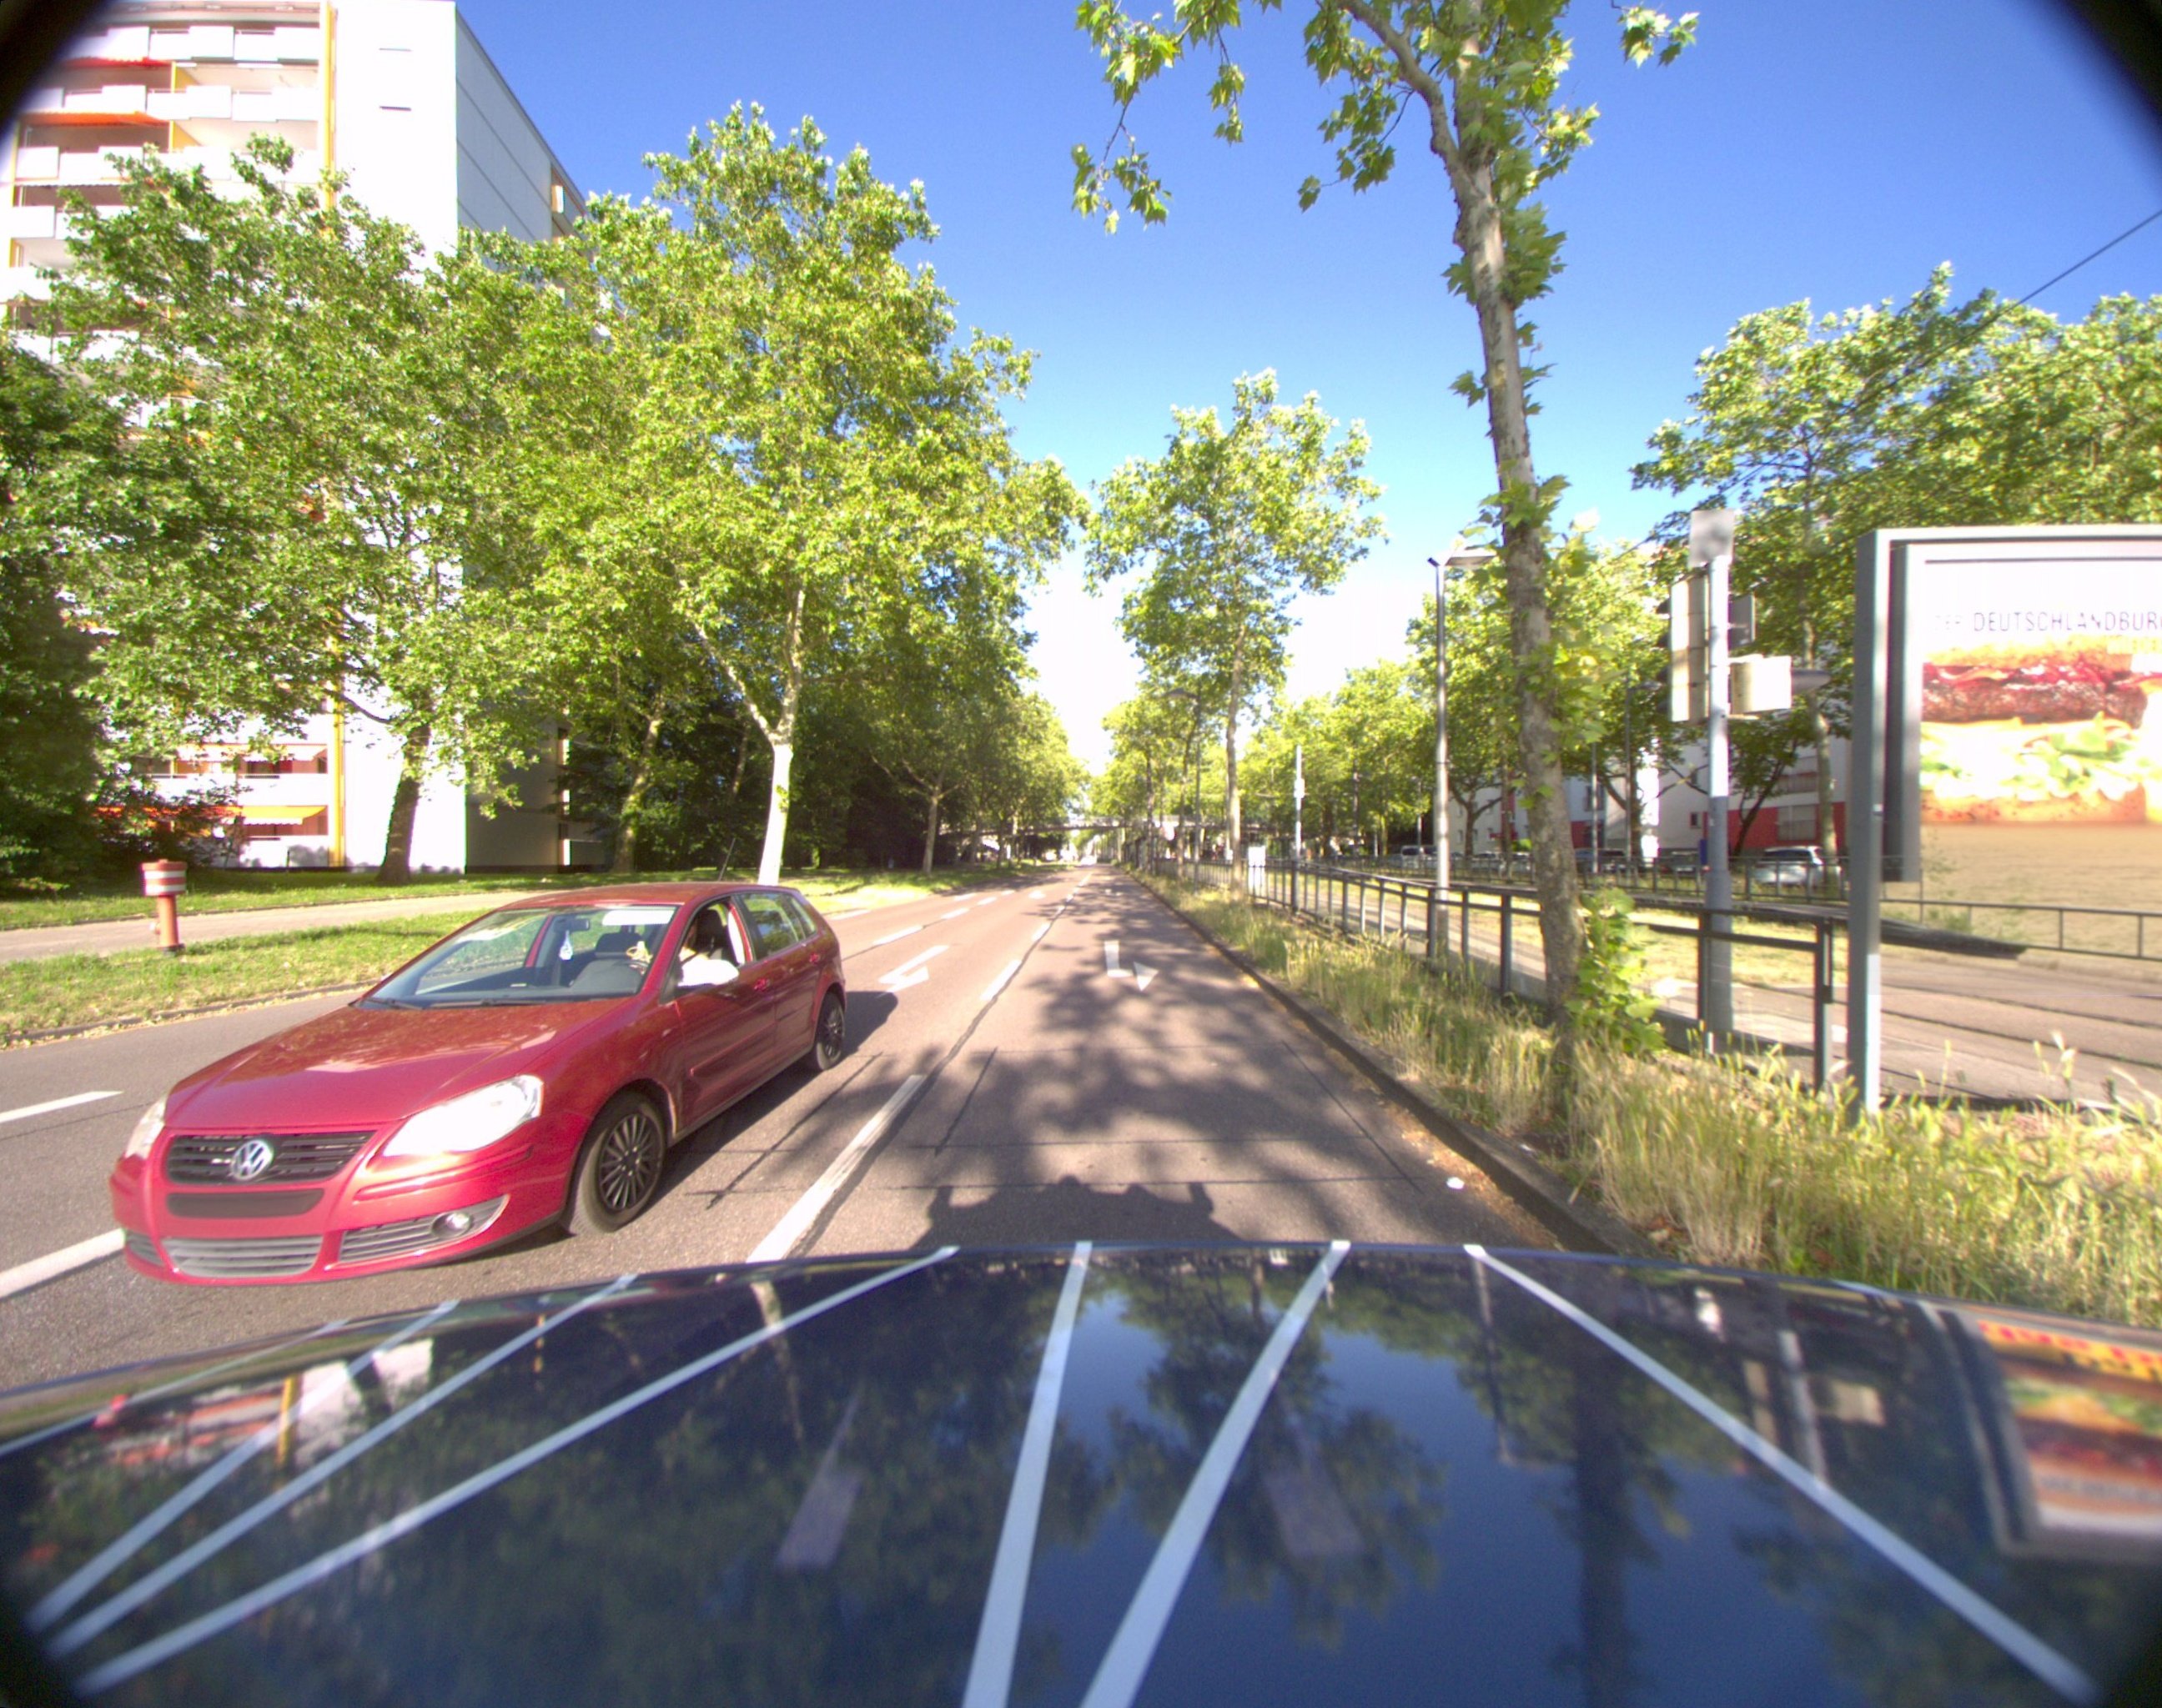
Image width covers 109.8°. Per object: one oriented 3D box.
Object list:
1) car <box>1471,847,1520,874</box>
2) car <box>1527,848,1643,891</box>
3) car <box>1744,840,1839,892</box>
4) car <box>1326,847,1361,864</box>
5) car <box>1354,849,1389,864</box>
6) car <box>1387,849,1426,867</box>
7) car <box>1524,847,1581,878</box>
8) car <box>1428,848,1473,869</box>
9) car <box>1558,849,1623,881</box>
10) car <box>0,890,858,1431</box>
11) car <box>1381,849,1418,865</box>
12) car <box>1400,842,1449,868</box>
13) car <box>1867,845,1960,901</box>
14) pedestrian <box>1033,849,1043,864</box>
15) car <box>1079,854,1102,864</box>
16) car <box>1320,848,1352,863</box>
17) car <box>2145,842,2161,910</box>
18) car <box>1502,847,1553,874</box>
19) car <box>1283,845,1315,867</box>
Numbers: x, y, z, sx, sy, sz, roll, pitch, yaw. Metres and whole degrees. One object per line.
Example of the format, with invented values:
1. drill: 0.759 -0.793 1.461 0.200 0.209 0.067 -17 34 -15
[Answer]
1. car: 25.888 0.393 47.433 3.493 1.417 1.558 -3 -1 -42
2. car: 19.206 0.537 29.189 1.769 1.503 4.102 -1 0 1
3. car: 25.220 0.400 26.931 4.007 1.586 1.810 -3 1 -37
4. car: 25.324 0.121 73.341 3.835 1.561 1.597 -1 1 -43
5. car: 26.649 0.236 69.658 3.494 1.312 1.476 -1 1 -41
6. car: 25.861 0.280 60.302 3.494 1.336 1.476 -1 1 -41
7. car: 25.741 0.457 41.447 3.402 1.499 1.461 -3 1 -37
8. car: 26.227 0.293 53.887 3.494 1.395 1.623 -1 1 -41
9. car: 25.324 0.524 37.705 3.890 1.406 1.486 -3 1 -37
10. car: -2.736 1.049 4.224 1.645 1.430 3.761 -2 1 3
11. car: 26.841 0.272 63.965 3.494 1.293 1.476 -1 1 -41
12. car: 25.769 0.065 56.953 4.056 1.802 1.864 -1 1 -41
13. car: 25.235 0.537 23.003 3.770 1.420 1.555 -3 1 -37
14. pedestrian: -6.006 0.353 105.763 0.964 2.002 0.917 -4 1 -41
15. car: 1.619 0.893 127.787 1.794 1.465 4.007 -2 1 35
16. car: 26.725 0.145 79.491 3.742 1.517 1.597 -1 1 -43
17. car: 24.586 0.514 16.179 4.007 1.479 1.689 -3 1 -44
18. car: 26.237 0.373 44.607 3.493 1.321 1.476 -3 0 -41
19. car: 20.641 0.211 72.116 1.795 1.980 4.653 -1 0 3
